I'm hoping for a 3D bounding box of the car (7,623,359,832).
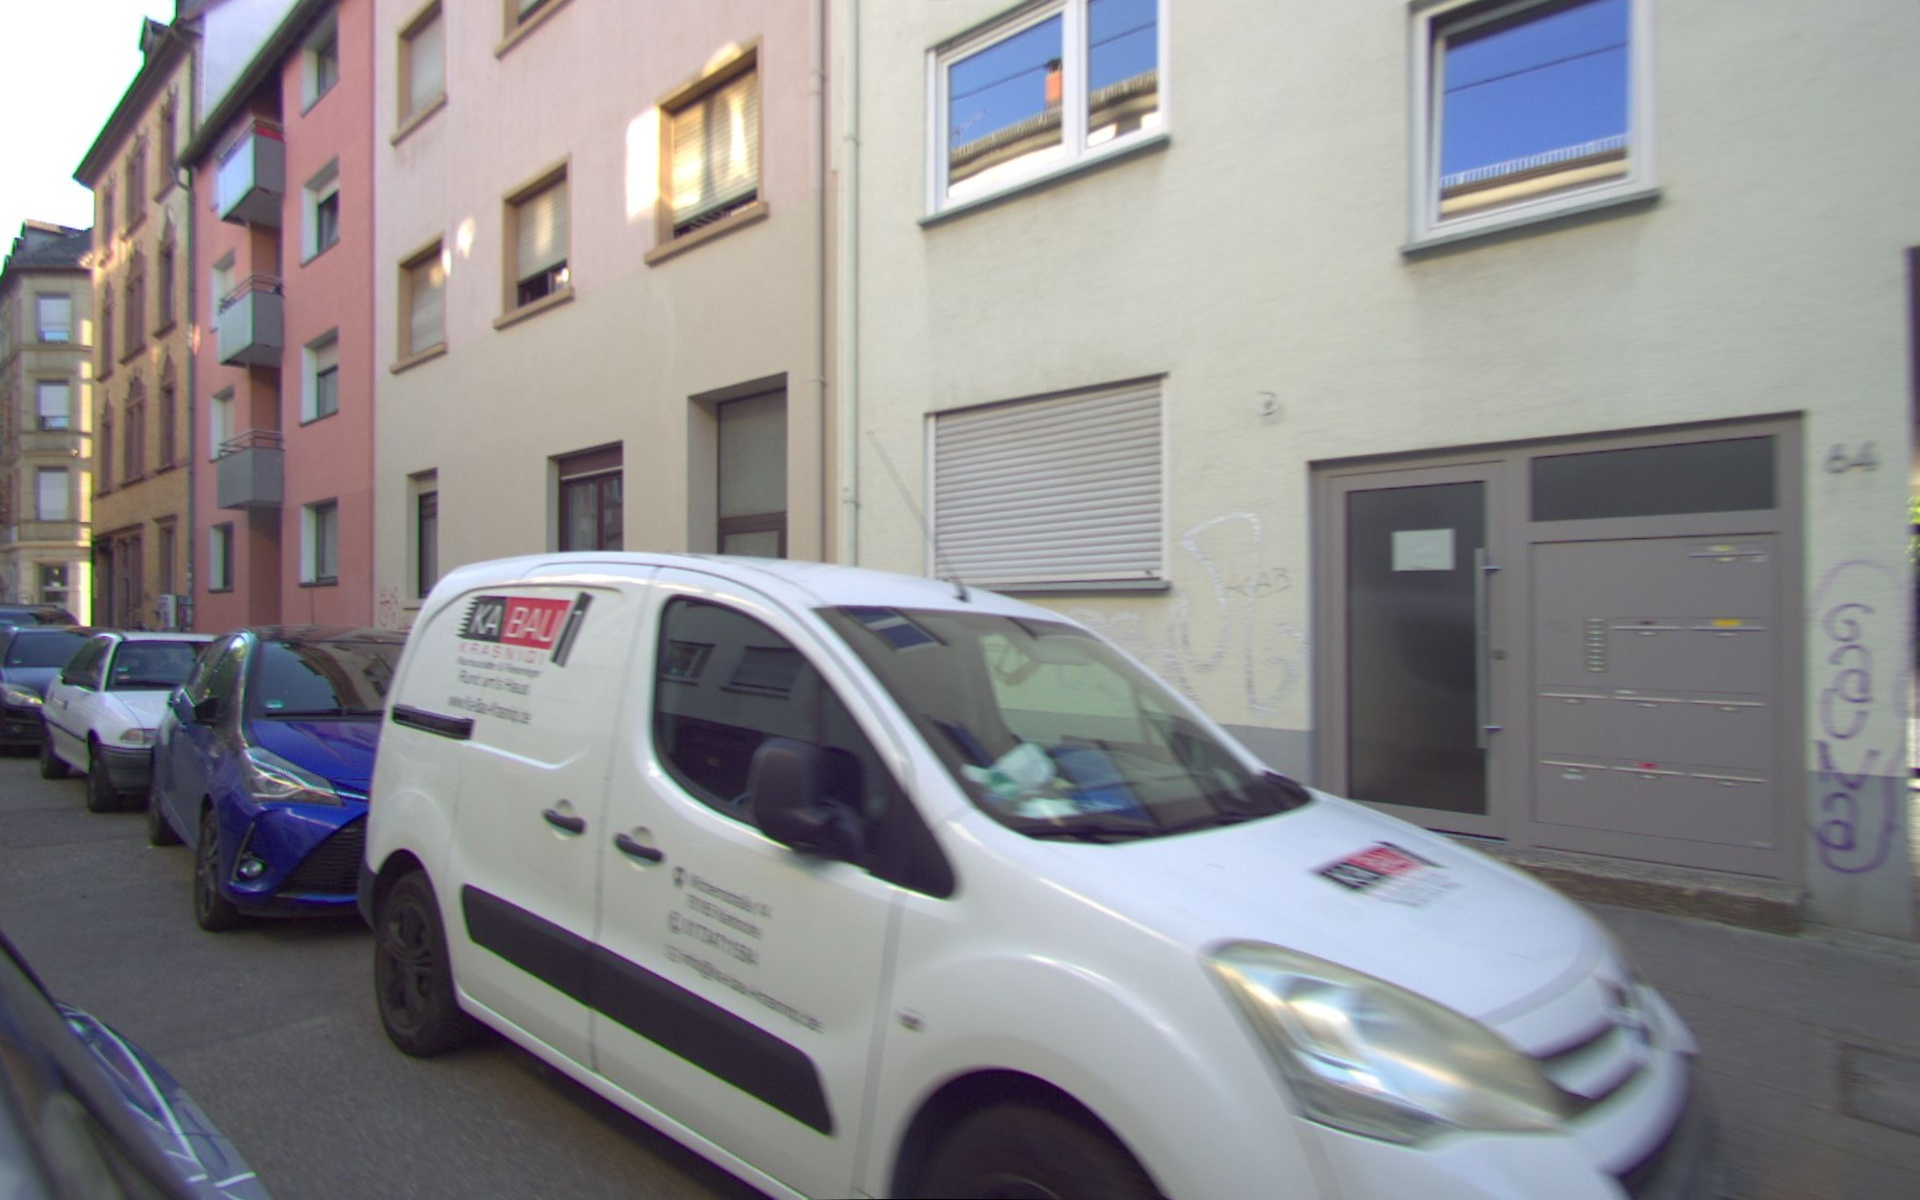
[{"bbox_3d":[-7.202,0.994,9.233,4.082,1.470,1.654,-1,-4,40],"label":"car"}]

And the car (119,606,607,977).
[{"bbox_3d":[-3.920,0.876,6.290,1.651,1.539,4.088,5,-4,-44],"label":"car"}]

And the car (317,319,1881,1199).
[{"bbox_3d":[-0.160,0.643,3.101,4.311,1.754,1.732,-1,-4,40],"label":"car"}]

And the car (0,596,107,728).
[{"bbox_3d":[-14.867,0.905,15.729,4.101,1.838,1.746,-1,-4,41],"label":"car"}]

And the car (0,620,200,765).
[{"bbox_3d":[-10.812,1.018,12.239,3.814,1.483,1.746,-1,-4,41],"label":"car"}]

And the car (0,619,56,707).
[{"bbox_3d":[-18.551,1.120,19.037,4.101,1.545,1.746,-1,-3,41],"label":"car"}]

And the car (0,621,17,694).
[{"bbox_3d":[-22.184,1.189,22.144,4.101,1.545,1.746,-1,-4,41],"label":"car"}]
